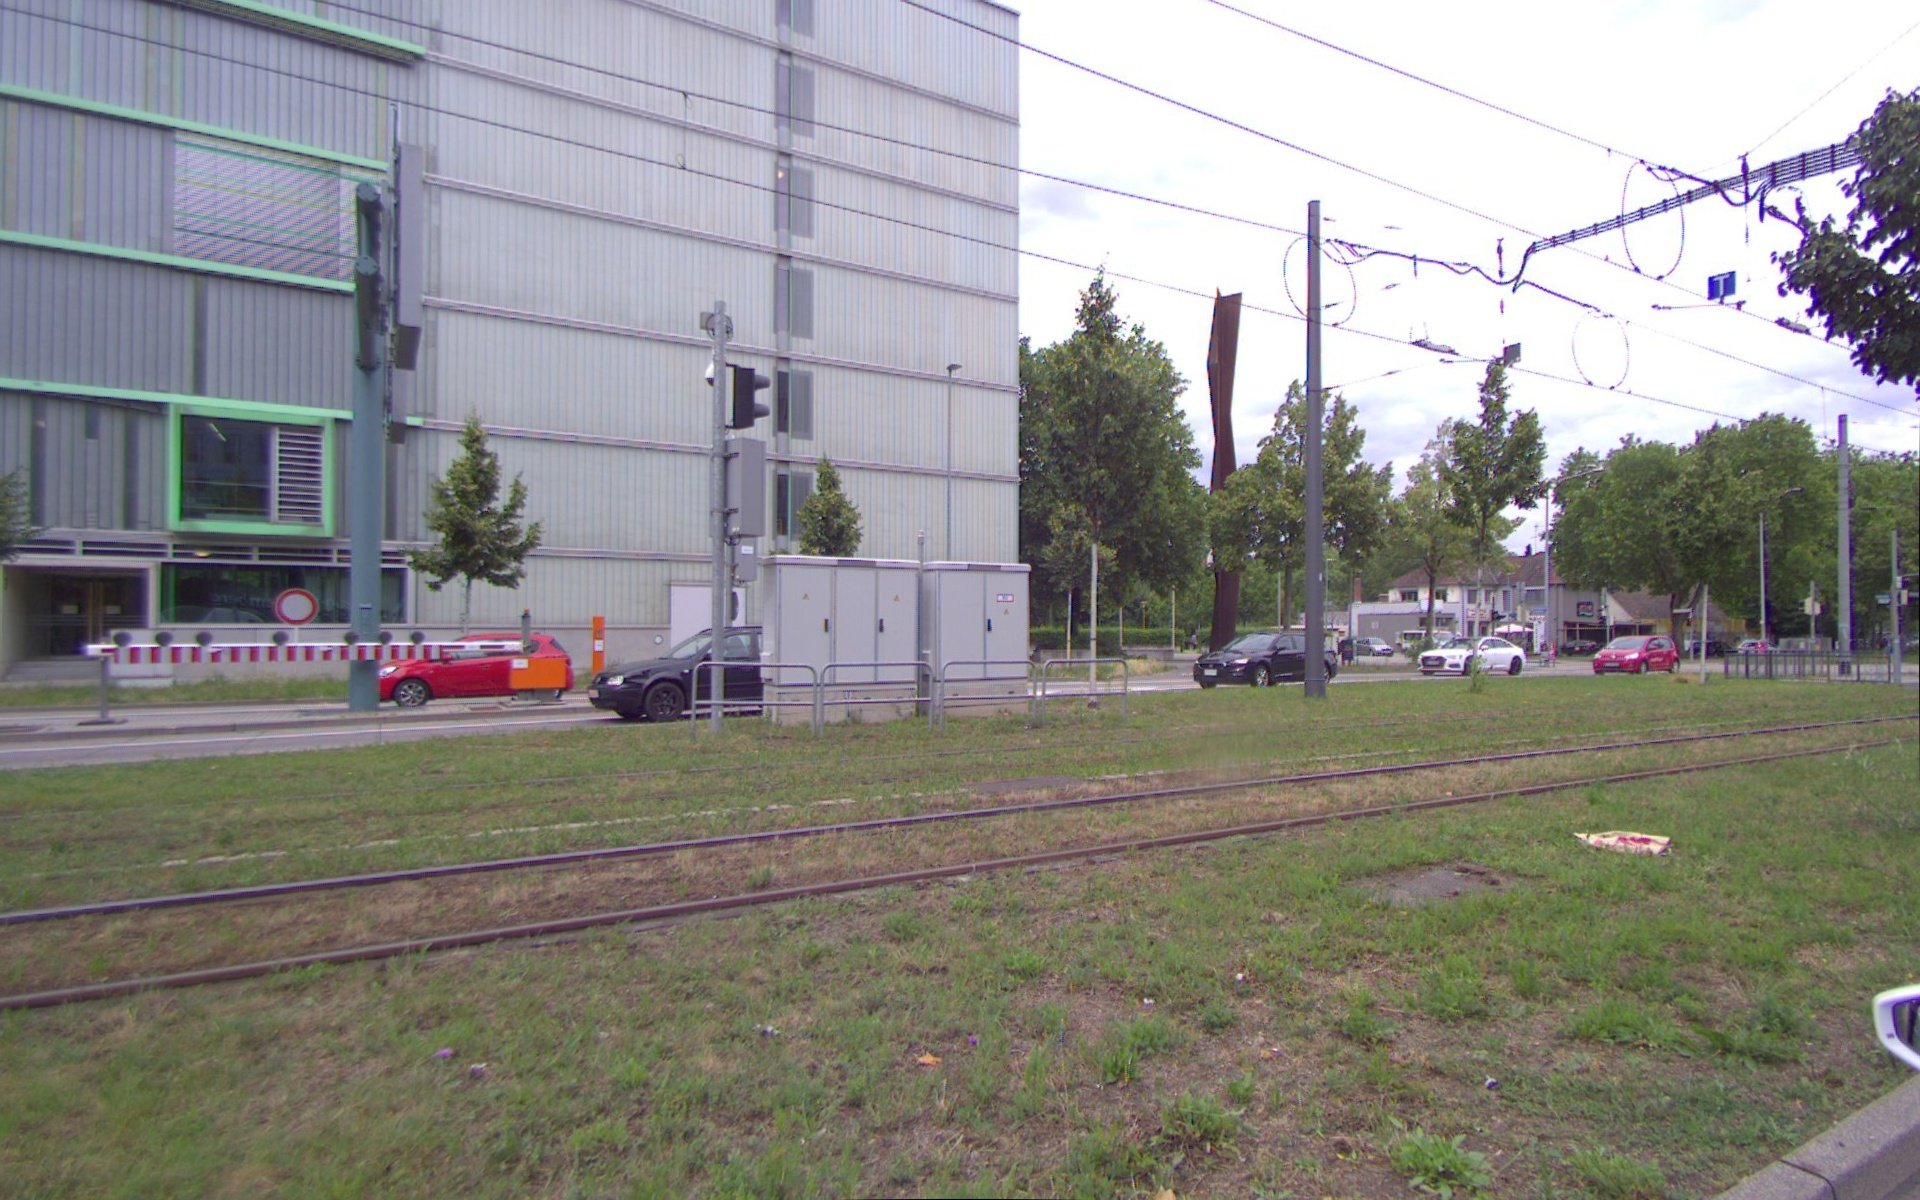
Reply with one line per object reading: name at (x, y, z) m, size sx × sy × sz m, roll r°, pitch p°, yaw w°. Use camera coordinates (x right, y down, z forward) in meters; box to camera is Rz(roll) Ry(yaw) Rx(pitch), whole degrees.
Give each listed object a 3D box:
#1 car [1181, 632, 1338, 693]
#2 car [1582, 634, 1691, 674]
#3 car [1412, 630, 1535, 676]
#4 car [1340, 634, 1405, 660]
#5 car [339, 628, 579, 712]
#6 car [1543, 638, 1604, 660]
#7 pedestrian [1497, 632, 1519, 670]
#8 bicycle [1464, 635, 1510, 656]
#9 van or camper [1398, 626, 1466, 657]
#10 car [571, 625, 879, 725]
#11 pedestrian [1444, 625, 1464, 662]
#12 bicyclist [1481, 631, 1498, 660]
car at (7.635, 1.528, 25.448) m, size 4.019 × 1.395 × 1.789 m, roll 1°, pitch -2°, yaw -36°
car at (25.322, 1.992, 37.585) m, size 4.220 × 1.395 × 1.802 m, roll 1°, pitch -2°, yaw -31°
car at (19.562, 1.973, 38.181) m, size 5.019 × 1.609 × 1.802 m, roll 1°, pitch -2°, yaw -31°
car at (31.243, 3.525, 76.201) m, size 2.078 × 1.840 × 4.268 m, roll 1°, pitch -1°, yaw -25°
car at (-10.267, 1.371, 20.782) m, size 4.275 × 1.591 × 1.788 m, roll 1°, pitch -1°, yaw -29°
car at (54.954, 4.333, 90.082) m, size 2.078 × 1.840 × 4.268 m, roll 1°, pitch -1°, yaw -25°
pedestrian at (26.764, 2.474, 49.070) m, size 0.769 × 1.856 × 0.771 m, roll -1°, pitch -1°, yaw 43°
bicycle at (32.696, 2.803, 62.367) m, size 2.474 × 1.218 × 0.738 m, roll -1°, pitch -1°, yaw 35°
van or camper at (32.400, 2.791, 69.173) m, size 2.416 × 2.040 × 5.283 m, roll 0°, pitch -1°, yaw 2°
car at (-3.778, 1.157, 16.581) m, size 4.700 × 1.445 × 1.652 m, roll 1°, pitch -3°, yaw -36°
pedestrian at (27.658, 2.418, 56.241) m, size 0.887 × 2.040 × 0.954 m, roll 0°, pitch -1°, yaw 18°
bicyclist at (32.820, 2.803, 62.286) m, size 0.838 × 1.744 × 0.719 m, roll 0°, pitch -1°, yaw 34°
